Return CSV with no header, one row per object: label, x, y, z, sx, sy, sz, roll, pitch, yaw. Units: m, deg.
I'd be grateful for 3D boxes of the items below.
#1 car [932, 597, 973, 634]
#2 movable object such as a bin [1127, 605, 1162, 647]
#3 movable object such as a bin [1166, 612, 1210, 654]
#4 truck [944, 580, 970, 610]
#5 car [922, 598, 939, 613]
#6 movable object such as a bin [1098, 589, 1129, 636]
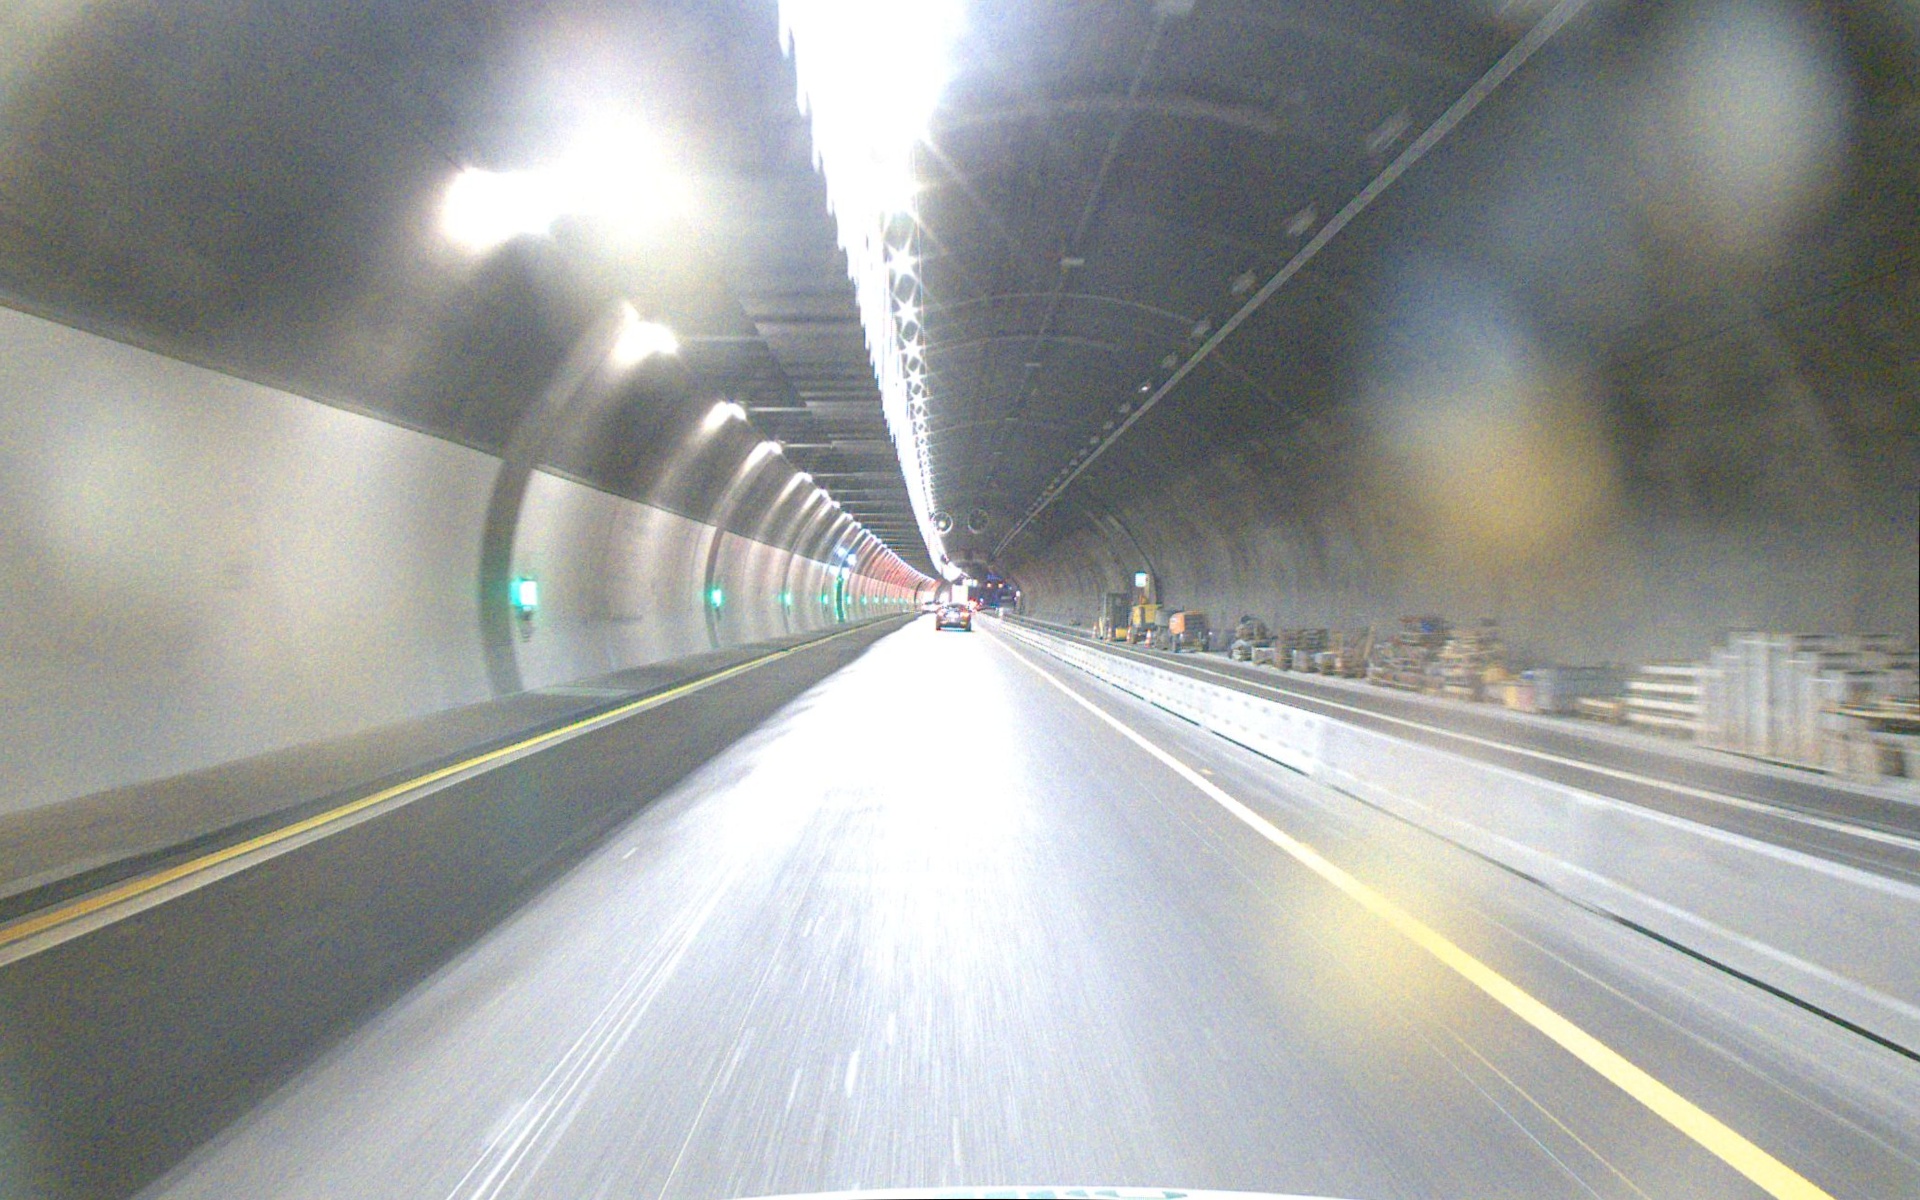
car,-0.418,0.794,86.654,1.908,1.826,3.997,-1,0,-4
movable object such as a bin,7.891,1.096,70.724,1.209,1.749,2.216,1,0,-1
movable object such as a bin,8.182,1.173,59.425,1.209,1.467,2.216,1,0,-1
truck,-0.565,-0.742,264.092,3.983,4.612,14.962,-1,0,-1
car,-3.491,0.697,196.973,1.891,1.716,4.000,-1,0,0
movable object such as a bin,7.166,0.585,77.280,1.209,2.178,2.216,1,0,-1
